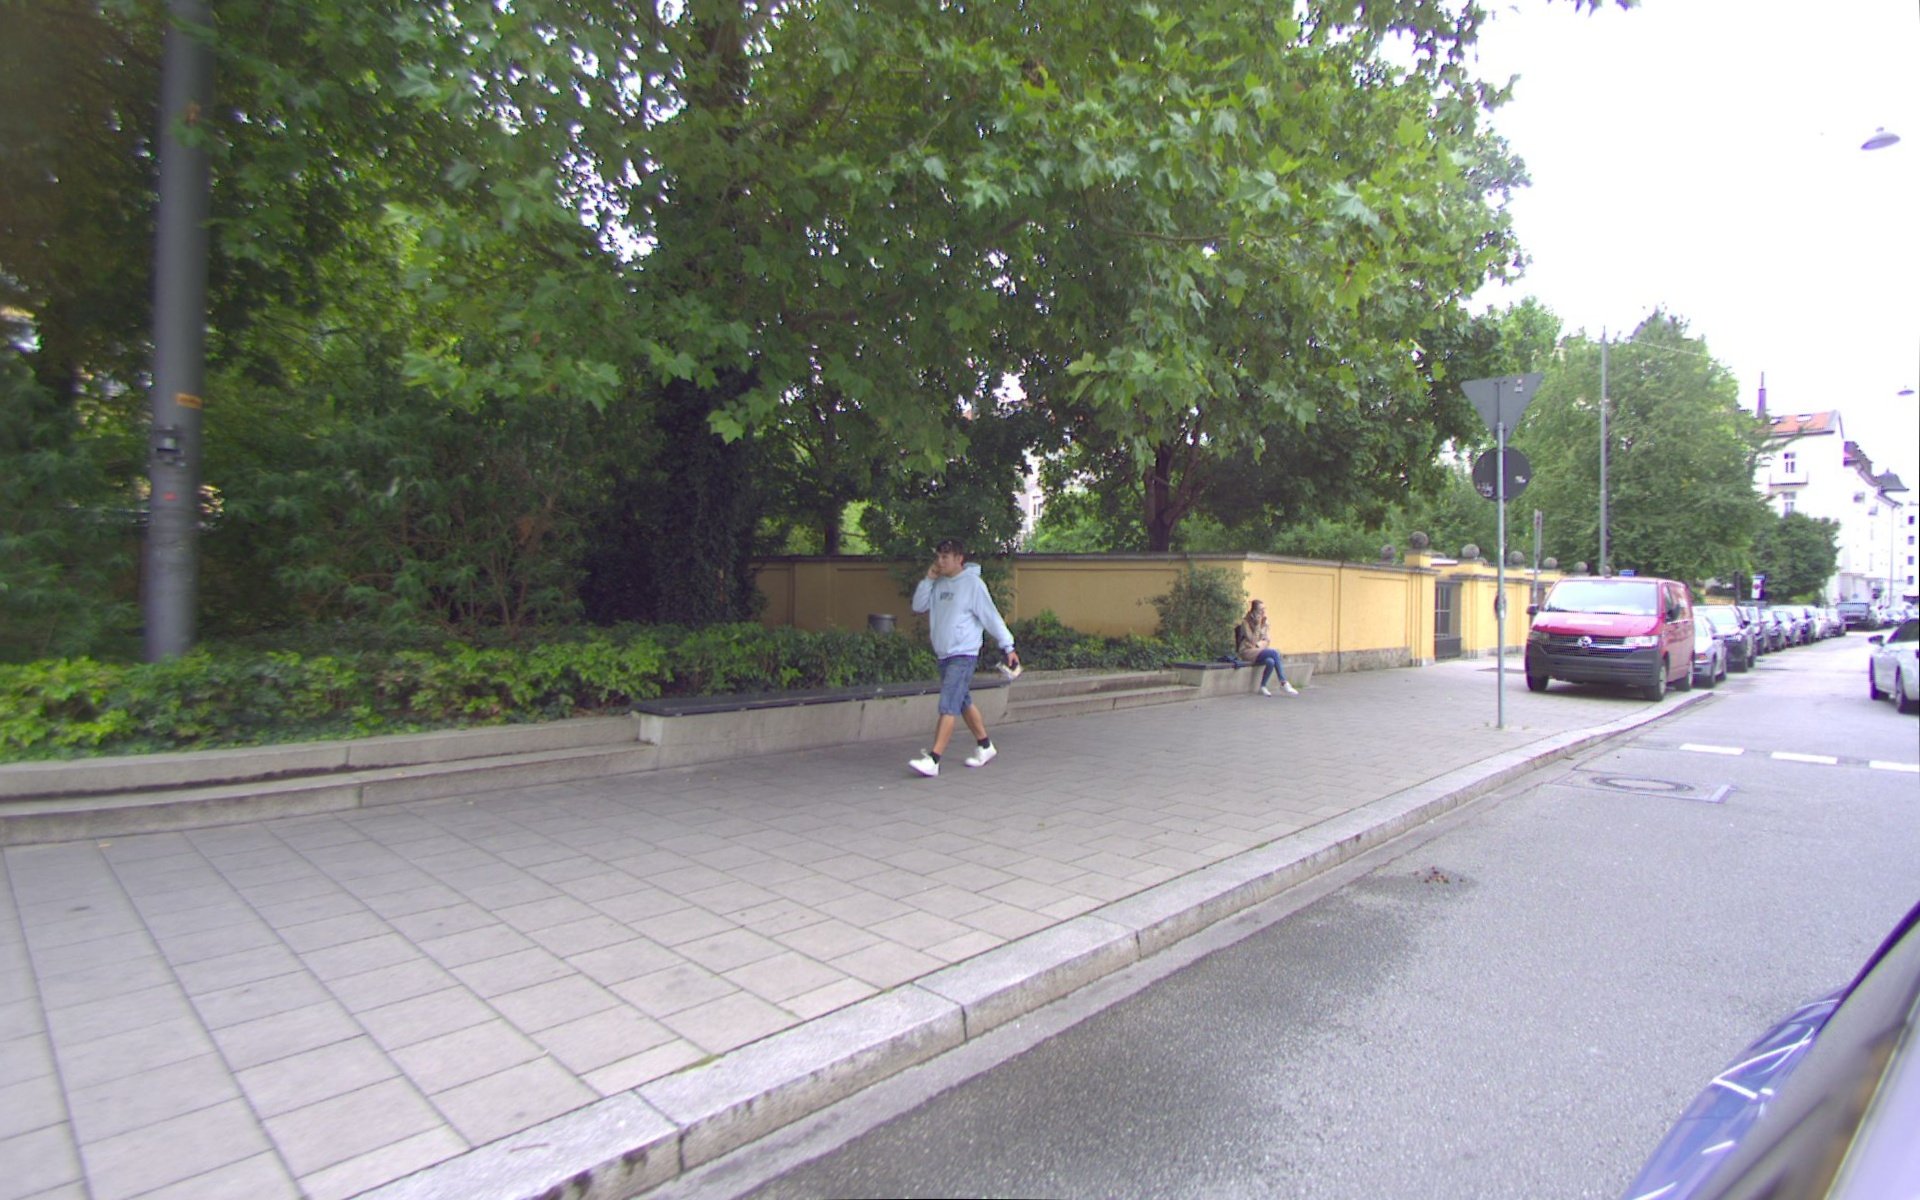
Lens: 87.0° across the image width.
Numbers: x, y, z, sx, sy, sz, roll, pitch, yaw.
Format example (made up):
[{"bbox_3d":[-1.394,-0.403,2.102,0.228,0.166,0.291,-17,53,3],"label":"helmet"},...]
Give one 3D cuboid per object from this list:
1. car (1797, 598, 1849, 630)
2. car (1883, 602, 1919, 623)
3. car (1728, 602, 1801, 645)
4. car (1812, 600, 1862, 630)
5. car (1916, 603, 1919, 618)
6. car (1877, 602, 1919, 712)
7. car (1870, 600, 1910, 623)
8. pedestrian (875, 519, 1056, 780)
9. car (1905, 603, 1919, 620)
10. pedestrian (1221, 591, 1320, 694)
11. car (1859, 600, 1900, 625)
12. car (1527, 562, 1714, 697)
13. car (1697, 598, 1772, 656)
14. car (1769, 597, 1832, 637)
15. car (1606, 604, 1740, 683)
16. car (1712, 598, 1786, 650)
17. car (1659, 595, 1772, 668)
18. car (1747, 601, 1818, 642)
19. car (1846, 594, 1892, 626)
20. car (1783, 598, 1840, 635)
[{"bbox_3d":[42.613,0.674,49.954,1.713,1.471,4.117,2,1,44],"label":"car"},{"bbox_3d":[78.107,1.029,83.873,4.225,1.615,1.995,1,-3,-42],"label":"car"},{"bbox_3d":[28.051,0.788,35.239,1.691,1.433,3.974,-1,-1,43],"label":"car"},{"bbox_3d":[46.058,0.752,53.109,1.713,1.471,4.876,2,1,44],"label":"car"},{"bbox_3d":[103.542,1.120,107.901,4.225,1.615,1.995,1,-3,-42],"label":"car"},{"bbox_3d":[15.095,0.782,14.965,1.880,1.467,4.824,1,0,38],"label":"car"},{"bbox_3d":[69.445,0.882,75.560,1.993,1.615,4.229,-3,-3,44],"label":"car"},{"bbox_3d":[0.045,0.330,7.629,1.035,1.793,0.874,1,0,-45],"label":"pedestrian"},{"bbox_3d":[95.760,1.139,100.778,4.225,1.615,1.995,1,-3,-42],"label":"car"},{"bbox_3d":[4.337,0.560,14.150,0.862,1.355,1.011,1,0,-43],"label":"pedestrian"},{"bbox_3d":[65.771,0.934,72.350,1.993,1.674,4.377,-3,-3,44],"label":"car"},{"bbox_3d":[11.247,0.434,17.066,1.873,1.945,4.812,-1,-1,43],"label":"car"},{"bbox_3d":[22.364,0.747,29.195,1.483,1.559,3.637,-1,-1,41],"label":"car"},{"bbox_3d":[35.689,0.689,42.938,1.713,1.590,4.616,2,1,44],"label":"car"},{"bbox_3d":[15.034,0.836,21.248,1.882,1.467,4.304,-1,-1,41],"label":"car"},{"bbox_3d":[25.301,0.737,32.423,1.508,1.586,2.823,-2,-1,45],"label":"car"},{"bbox_3d":[19.166,0.749,25.601,1.883,1.674,4.751,-1,-1,42],"label":"car"},{"bbox_3d":[31.504,0.769,38.726,1.693,1.432,4.443,2,1,45],"label":"car"},{"bbox_3d":[58.667,0.673,65.291,1.993,1.986,4.362,-3,-3,44],"label":"car"},{"bbox_3d":[39.279,0.734,46.625,1.713,1.590,4.251,2,1,44],"label":"car"}]
